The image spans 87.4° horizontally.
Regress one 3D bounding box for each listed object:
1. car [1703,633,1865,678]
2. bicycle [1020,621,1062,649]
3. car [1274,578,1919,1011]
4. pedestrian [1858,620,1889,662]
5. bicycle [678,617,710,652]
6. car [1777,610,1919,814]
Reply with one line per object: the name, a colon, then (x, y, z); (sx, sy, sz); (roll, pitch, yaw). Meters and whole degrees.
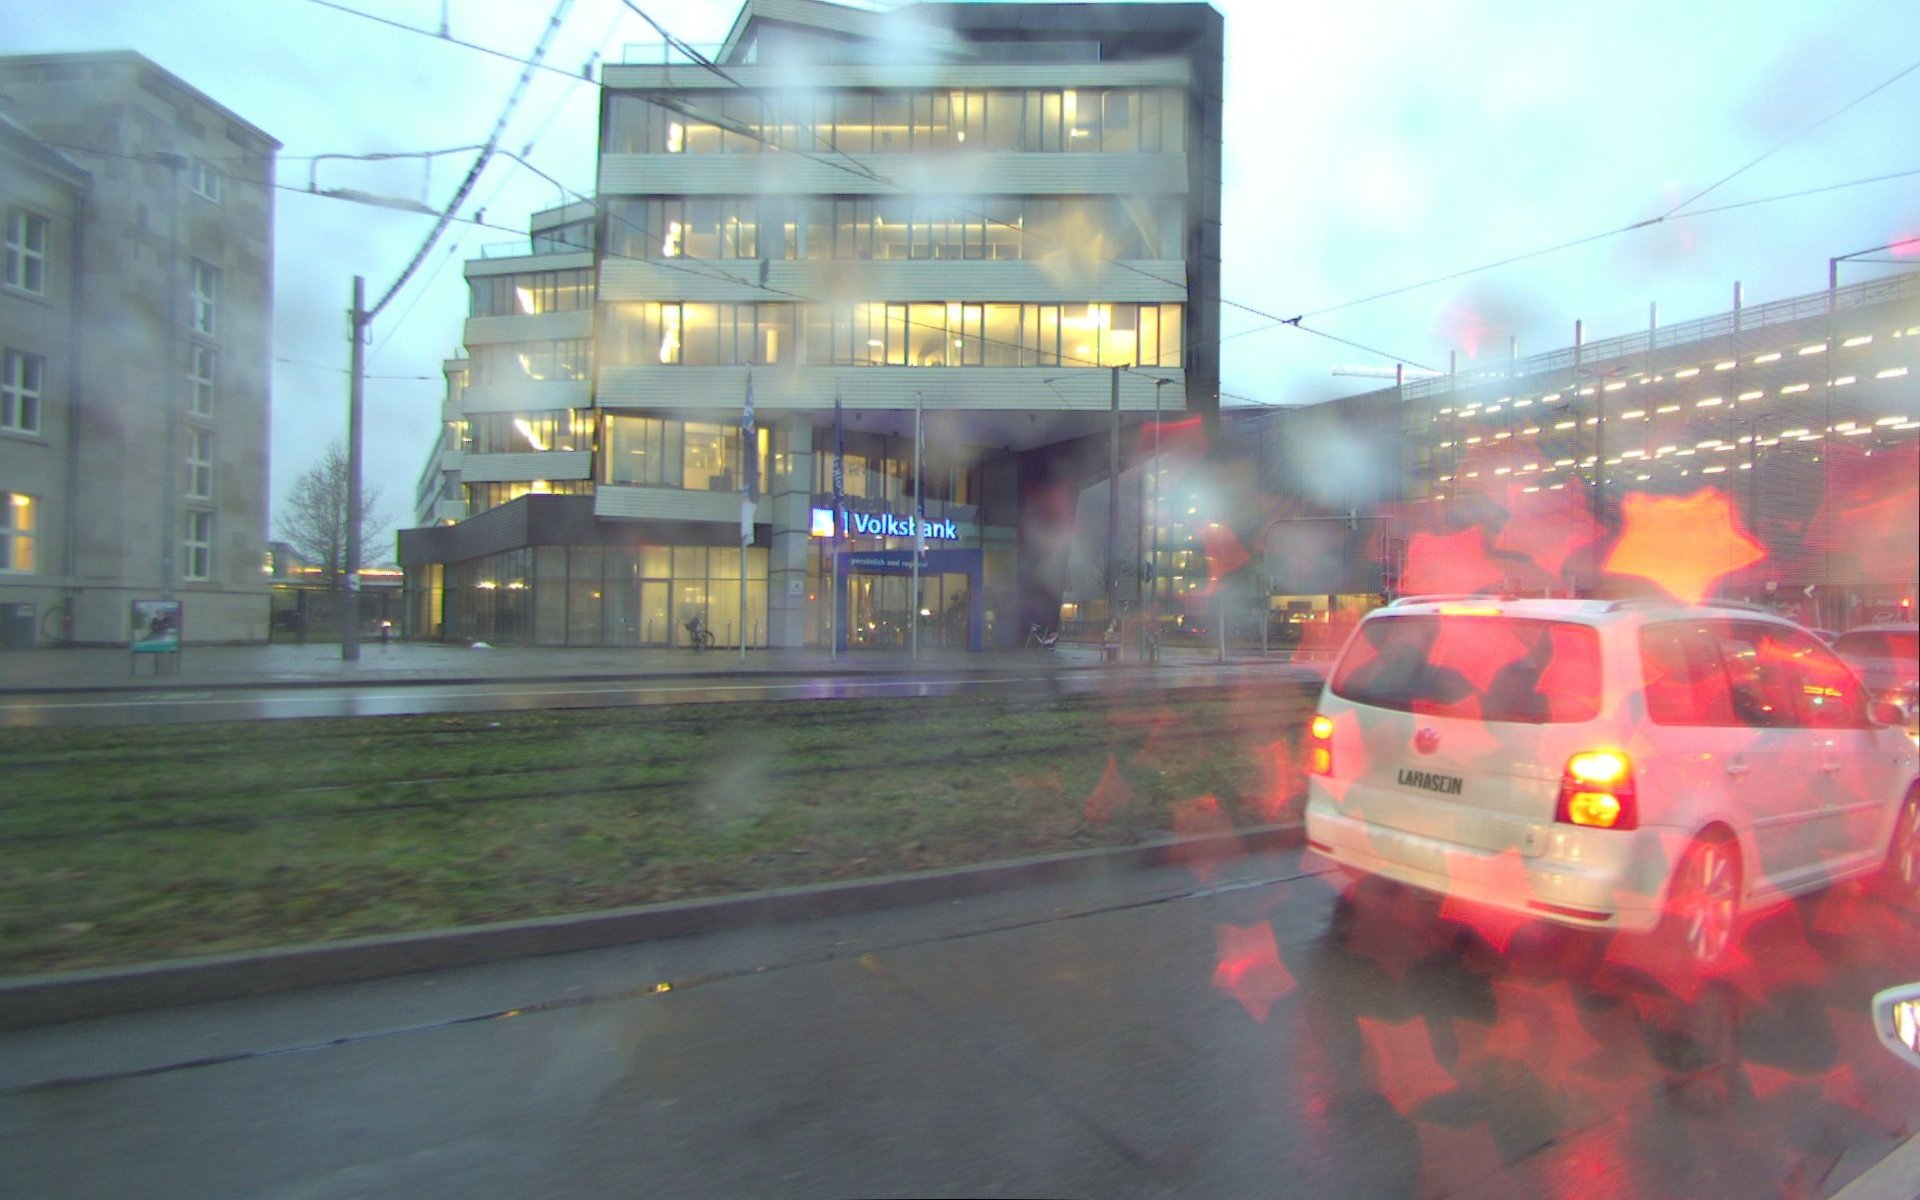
car: (27.678, 1.848, 33.799); (4.392, 1.404, 1.644); (1, -1, -6)
bicycle: (3.231, 1.388, 39.925); (1.582, 1.084, 0.637); (0, -1, -31)
car: (3.837, 0.768, 5.568); (4.175, 1.620, 1.662); (1, 0, -32)
pedestrian: (55.667, 2.506, 61.216); (0.955, 2.471, 1.105); (2, 0, -30)
bicycle: (-8.989, 1.162, 33.945); (0.518, 1.142, 1.498); (1, -1, 7)
car: (9.255, 0.927, 9.142); (4.320, 1.591, 1.808); (2, -1, -36)
